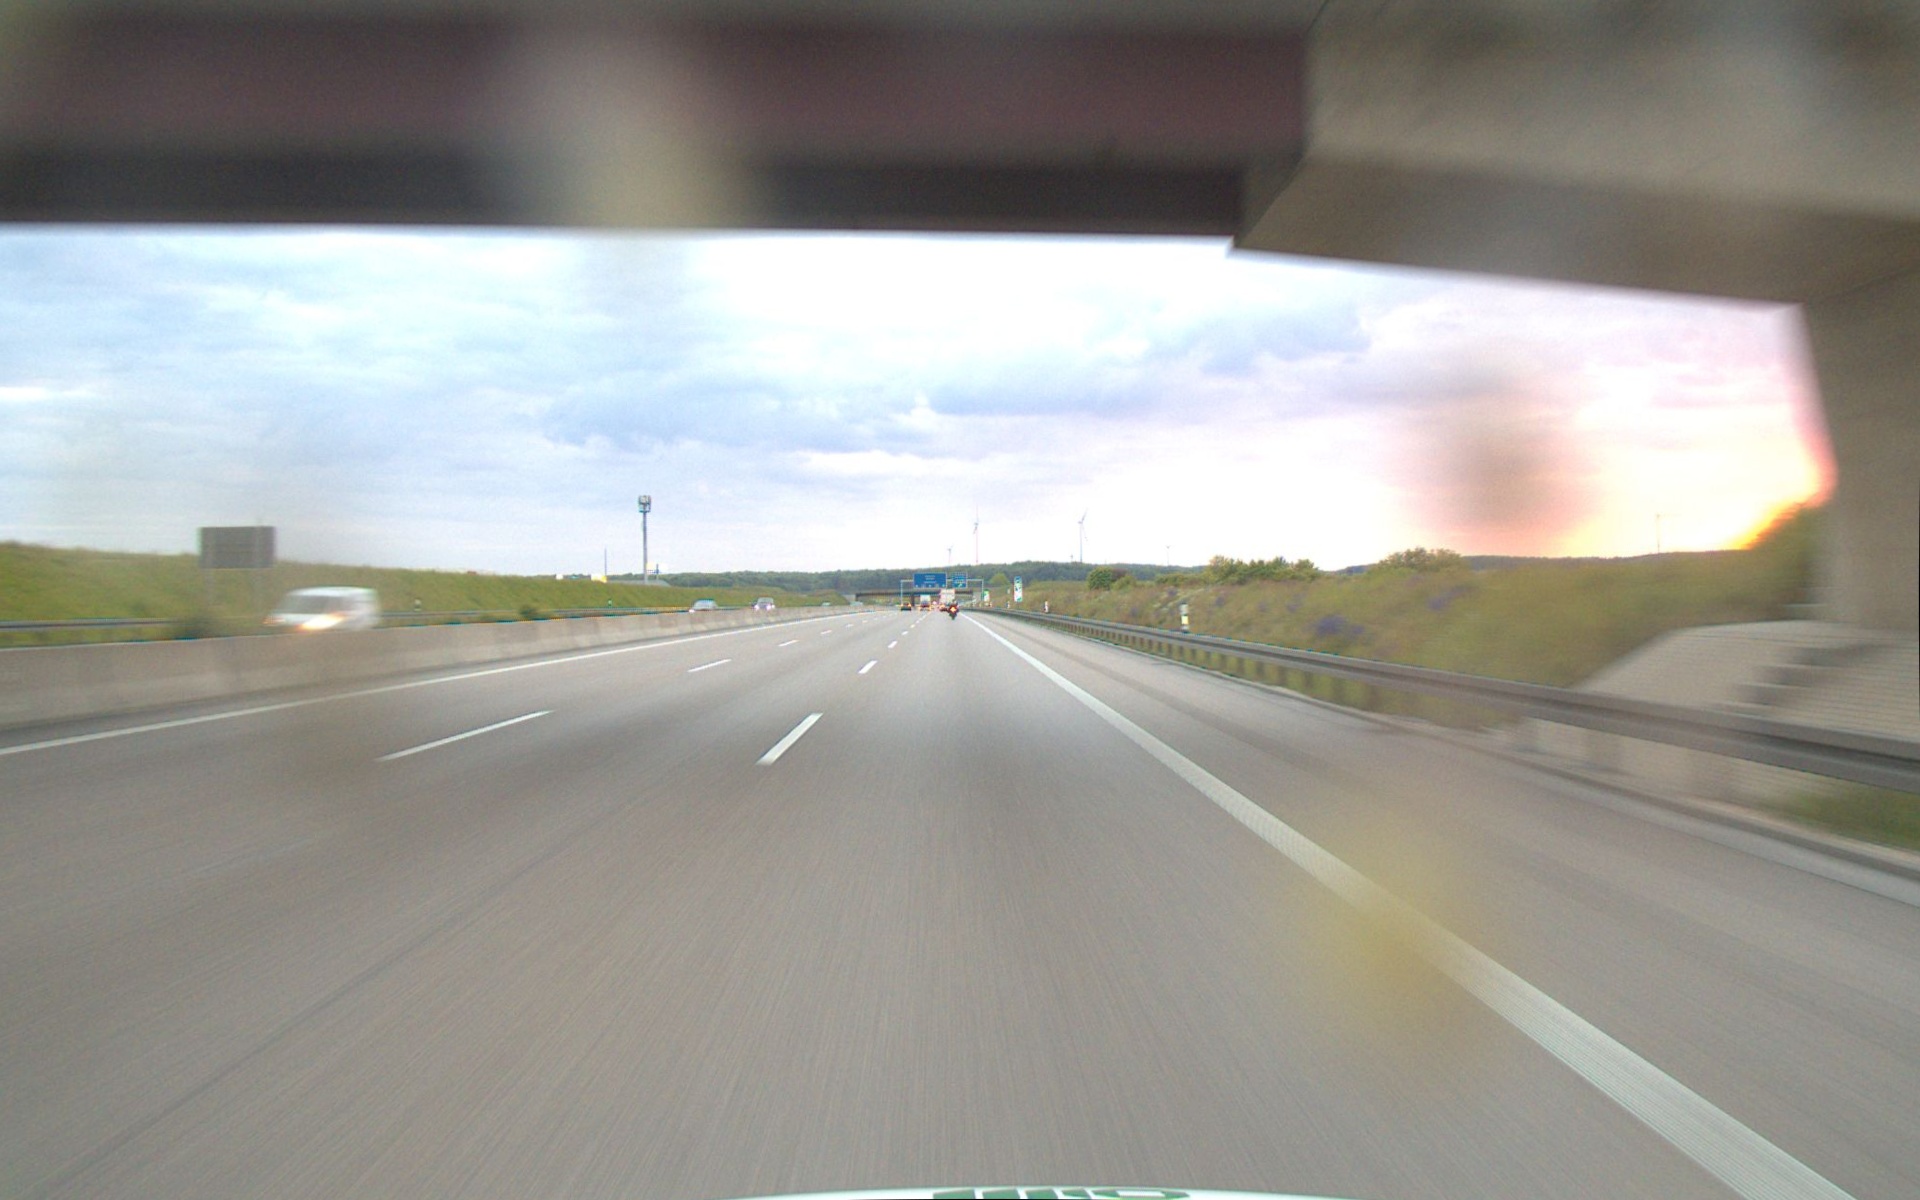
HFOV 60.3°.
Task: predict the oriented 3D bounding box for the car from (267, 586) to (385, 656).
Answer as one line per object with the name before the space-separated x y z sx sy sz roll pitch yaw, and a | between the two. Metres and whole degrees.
car | -19.026 0.600 49.881 1.786 1.969 4.892 1 0 -2

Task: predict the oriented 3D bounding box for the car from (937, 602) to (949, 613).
car | -2.702 1.141 258.805 1.879 1.607 3.999 0 0 -2

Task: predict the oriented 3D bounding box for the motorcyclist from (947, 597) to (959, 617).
motorcyclist | -0.529 0.526 125.154 0.848 1.514 1.168 1 0 1

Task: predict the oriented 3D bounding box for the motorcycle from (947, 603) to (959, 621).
motorcycle | -0.523 0.910 125.407 0.883 1.370 2.348 0 0 0

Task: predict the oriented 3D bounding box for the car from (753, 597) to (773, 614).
car | -24.210 0.666 203.107 1.953 1.970 5.089 1 0 -1

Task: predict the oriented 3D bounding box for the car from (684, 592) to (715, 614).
car | -20.610 0.202 131.174 1.787 1.691 4.650 1 0 -1
